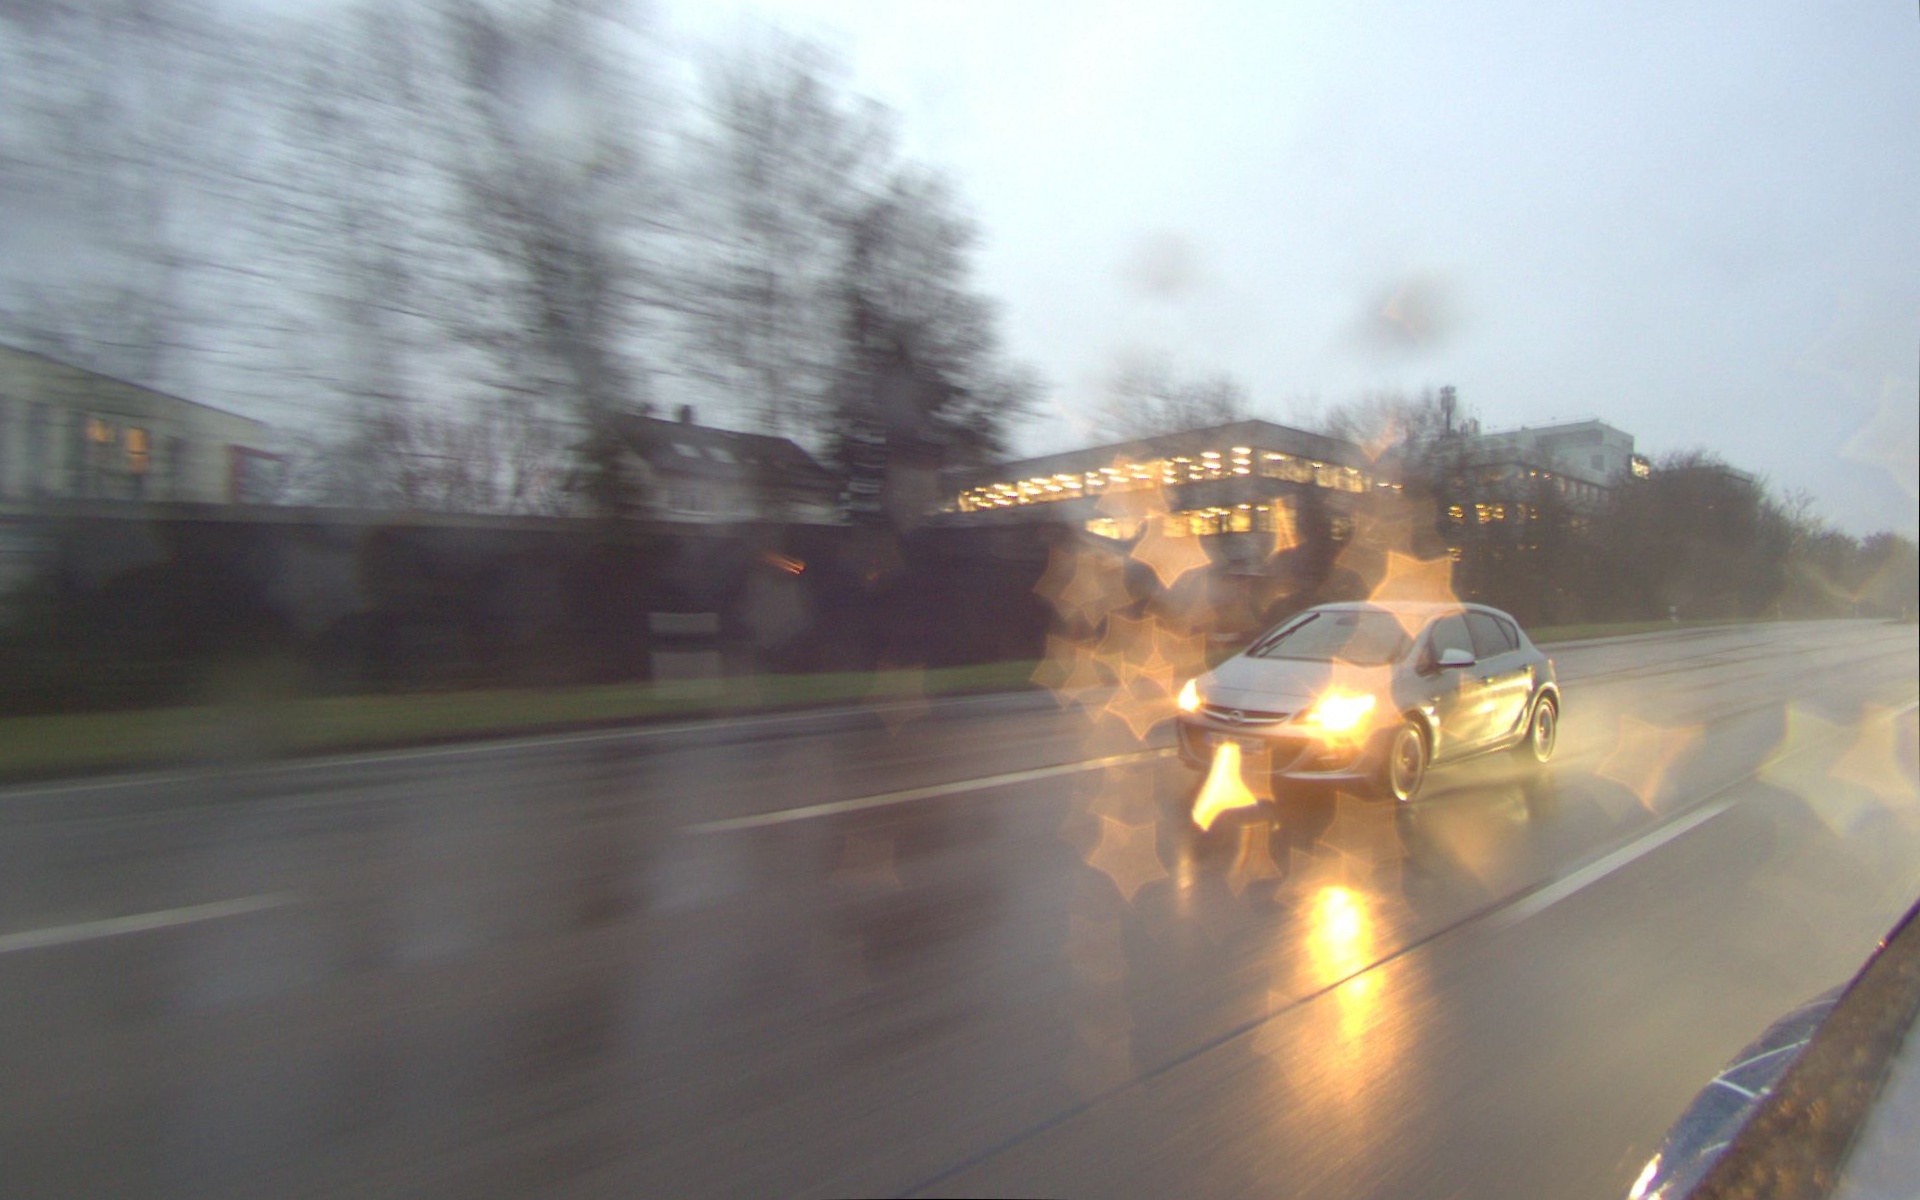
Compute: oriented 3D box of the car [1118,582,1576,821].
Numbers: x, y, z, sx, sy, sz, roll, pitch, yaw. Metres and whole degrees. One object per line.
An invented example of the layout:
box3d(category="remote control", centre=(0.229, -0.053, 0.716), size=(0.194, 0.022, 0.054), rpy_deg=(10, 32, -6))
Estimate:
box3d(category="car", centre=(3.418, 0.629, 8.553), size=(4.188, 1.520, 1.852), rpy_deg=(-1, 0, -41))
